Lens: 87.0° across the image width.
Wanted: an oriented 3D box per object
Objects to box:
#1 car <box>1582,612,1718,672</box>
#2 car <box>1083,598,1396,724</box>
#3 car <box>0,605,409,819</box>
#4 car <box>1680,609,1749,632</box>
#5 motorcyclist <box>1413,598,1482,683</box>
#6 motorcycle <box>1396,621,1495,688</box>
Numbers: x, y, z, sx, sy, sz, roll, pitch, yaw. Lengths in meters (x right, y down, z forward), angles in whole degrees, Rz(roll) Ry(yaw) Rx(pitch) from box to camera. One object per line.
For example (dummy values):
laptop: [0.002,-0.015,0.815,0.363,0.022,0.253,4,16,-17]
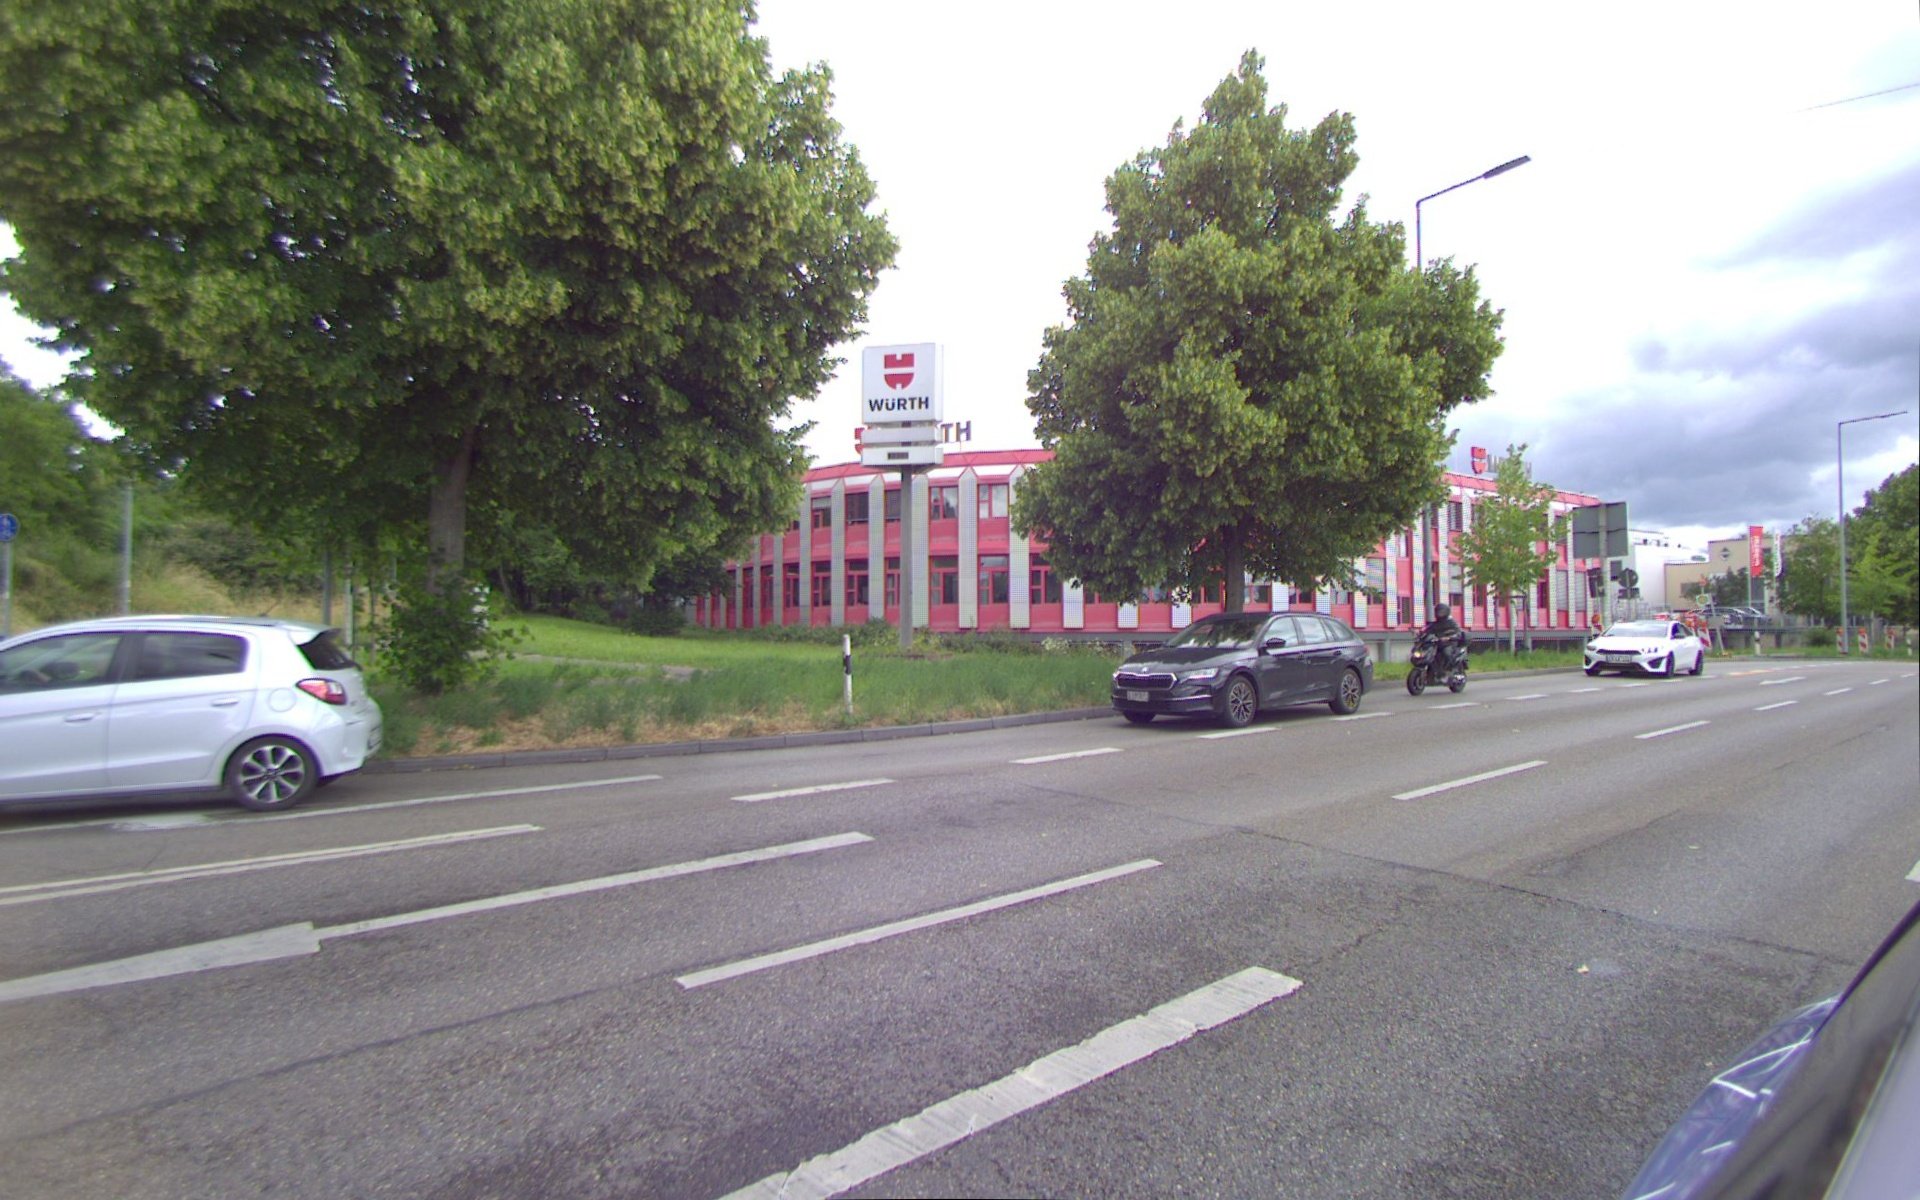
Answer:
car: [17.406,1.044,25.446,4.400,1.380,1.783,2,-2,-41]
car: [3.911,0.801,13.812,4.445,1.465,1.784,1,-5,-39]
car: [-6.562,0.839,7.919,3.754,1.462,1.788,1,-5,-23]
car: [61.815,1.688,82.953,1.752,1.776,4.247,0,0,-39]
motorcyclist: [8.928,0.735,18.555,0.915,1.510,0.750,1,-3,-34]
motorcycle: [8.886,0.976,18.514,1.905,1.162,0.750,1,-3,-34]
